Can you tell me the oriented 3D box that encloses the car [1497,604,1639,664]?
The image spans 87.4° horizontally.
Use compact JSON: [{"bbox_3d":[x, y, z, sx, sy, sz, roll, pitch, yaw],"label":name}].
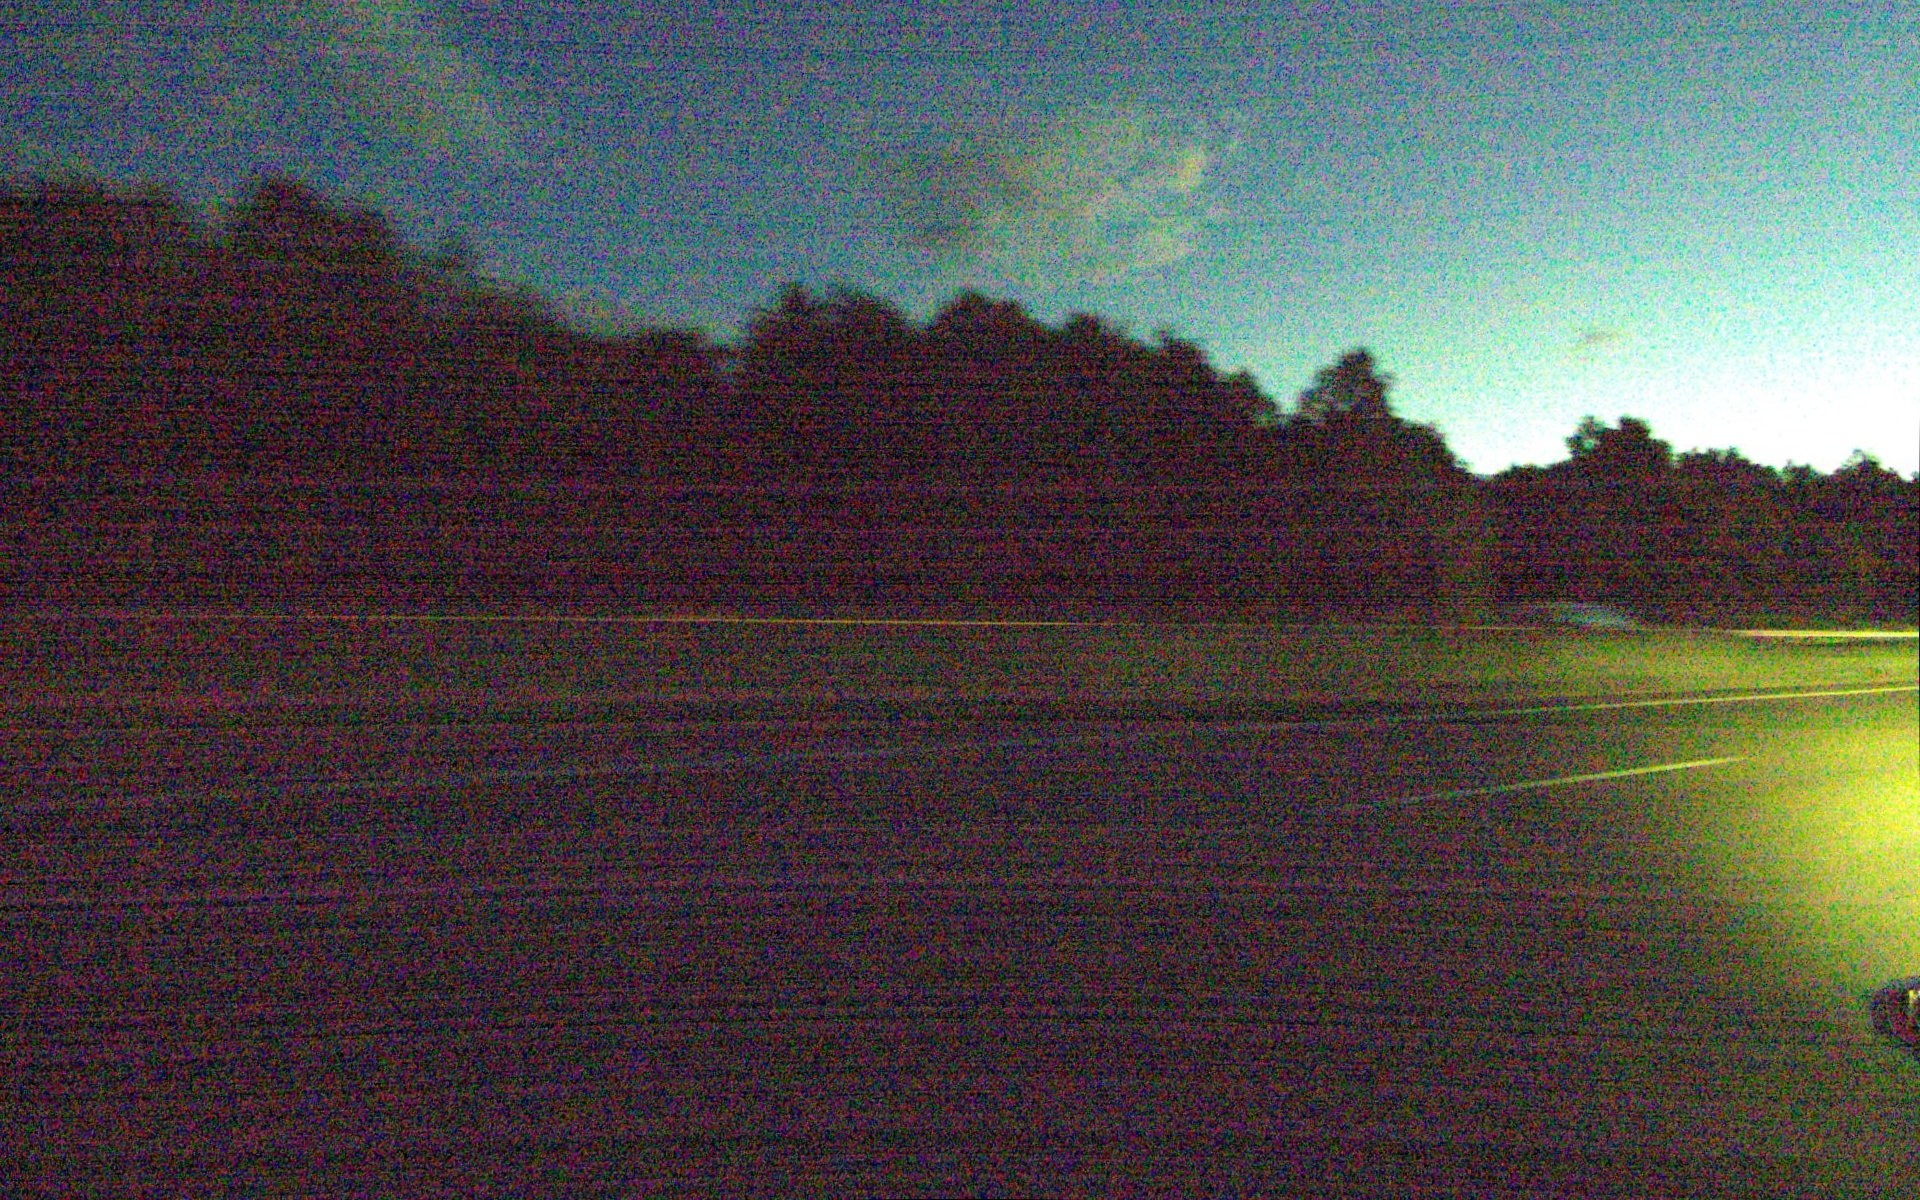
[{"bbox_3d":[19.566,1.083,32.315,4.345,1.810,1.985,2,-1,-29],"label":"car"}]
